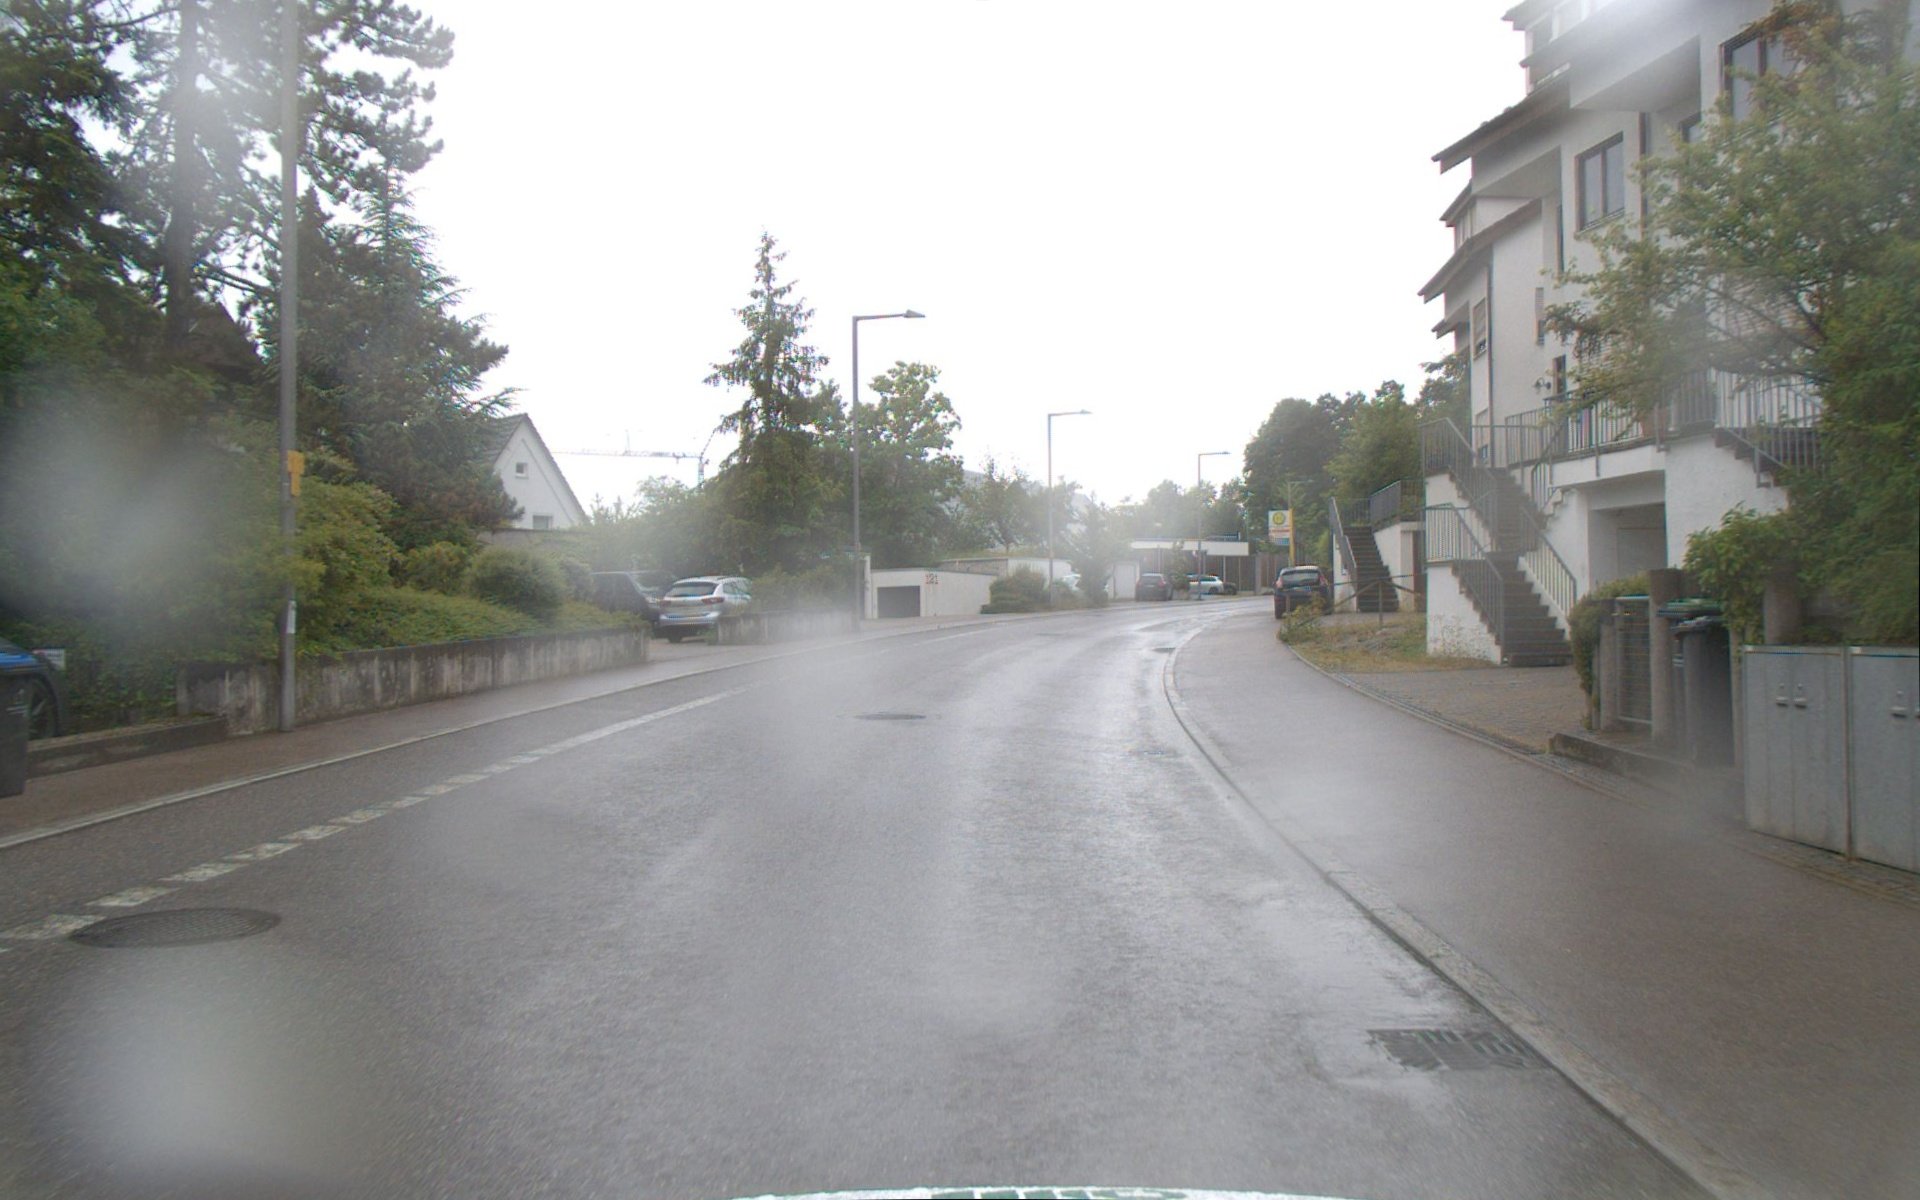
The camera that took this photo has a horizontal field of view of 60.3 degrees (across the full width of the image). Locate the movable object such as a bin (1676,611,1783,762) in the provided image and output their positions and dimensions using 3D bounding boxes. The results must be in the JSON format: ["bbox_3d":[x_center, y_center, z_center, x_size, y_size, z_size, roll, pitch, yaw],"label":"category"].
[{"bbox_3d":[4.958,0.549,10.673,0.481,0.939,0.457,-1,0,3],"label":"movable object such as a bin"}]

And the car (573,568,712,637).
[{"bbox_3d":[-9.065,0.074,47.074,3.931,1.870,1.987,-1,0,43],"label":"car"}]

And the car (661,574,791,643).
[{"bbox_3d":[-5.626,0.171,40.225,1.698,1.578,4.003,-1,0,15],"label":"car"}]

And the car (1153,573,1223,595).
[{"bbox_3d":[15.621,-1.078,113.348,4.447,1.467,1.753,0,1,-17],"label":"car"}]

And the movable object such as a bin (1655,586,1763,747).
[{"bbox_3d":[5.123,0.443,11.338,0.481,1.065,0.576,-1,0,3],"label":"movable object such as a bin"}]

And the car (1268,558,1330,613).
[{"bbox_3d":[10.319,-0.447,50.233,1.669,1.479,4.024,-4,0,13],"label":"car"}]

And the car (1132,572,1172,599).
[{"bbox_3d":[10.691,-0.838,91.897,1.794,1.430,4.264,0,1,13],"label":"car"}]

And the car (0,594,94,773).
[{"bbox_3d":[-8.218,0.656,11.437,1.952,1.330,4.435,-1,0,2],"label":"car"}]

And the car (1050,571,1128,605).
[{"bbox_3d":[6.183,-0.577,79.003,1.676,1.580,4.373,0,1,36],"label":"car"}]

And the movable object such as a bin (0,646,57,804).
[{"bbox_3d":[-6.381,0.826,11.058,0.362,1.005,0.558,-1,0,0],"label":"movable object such as a bin"}]
